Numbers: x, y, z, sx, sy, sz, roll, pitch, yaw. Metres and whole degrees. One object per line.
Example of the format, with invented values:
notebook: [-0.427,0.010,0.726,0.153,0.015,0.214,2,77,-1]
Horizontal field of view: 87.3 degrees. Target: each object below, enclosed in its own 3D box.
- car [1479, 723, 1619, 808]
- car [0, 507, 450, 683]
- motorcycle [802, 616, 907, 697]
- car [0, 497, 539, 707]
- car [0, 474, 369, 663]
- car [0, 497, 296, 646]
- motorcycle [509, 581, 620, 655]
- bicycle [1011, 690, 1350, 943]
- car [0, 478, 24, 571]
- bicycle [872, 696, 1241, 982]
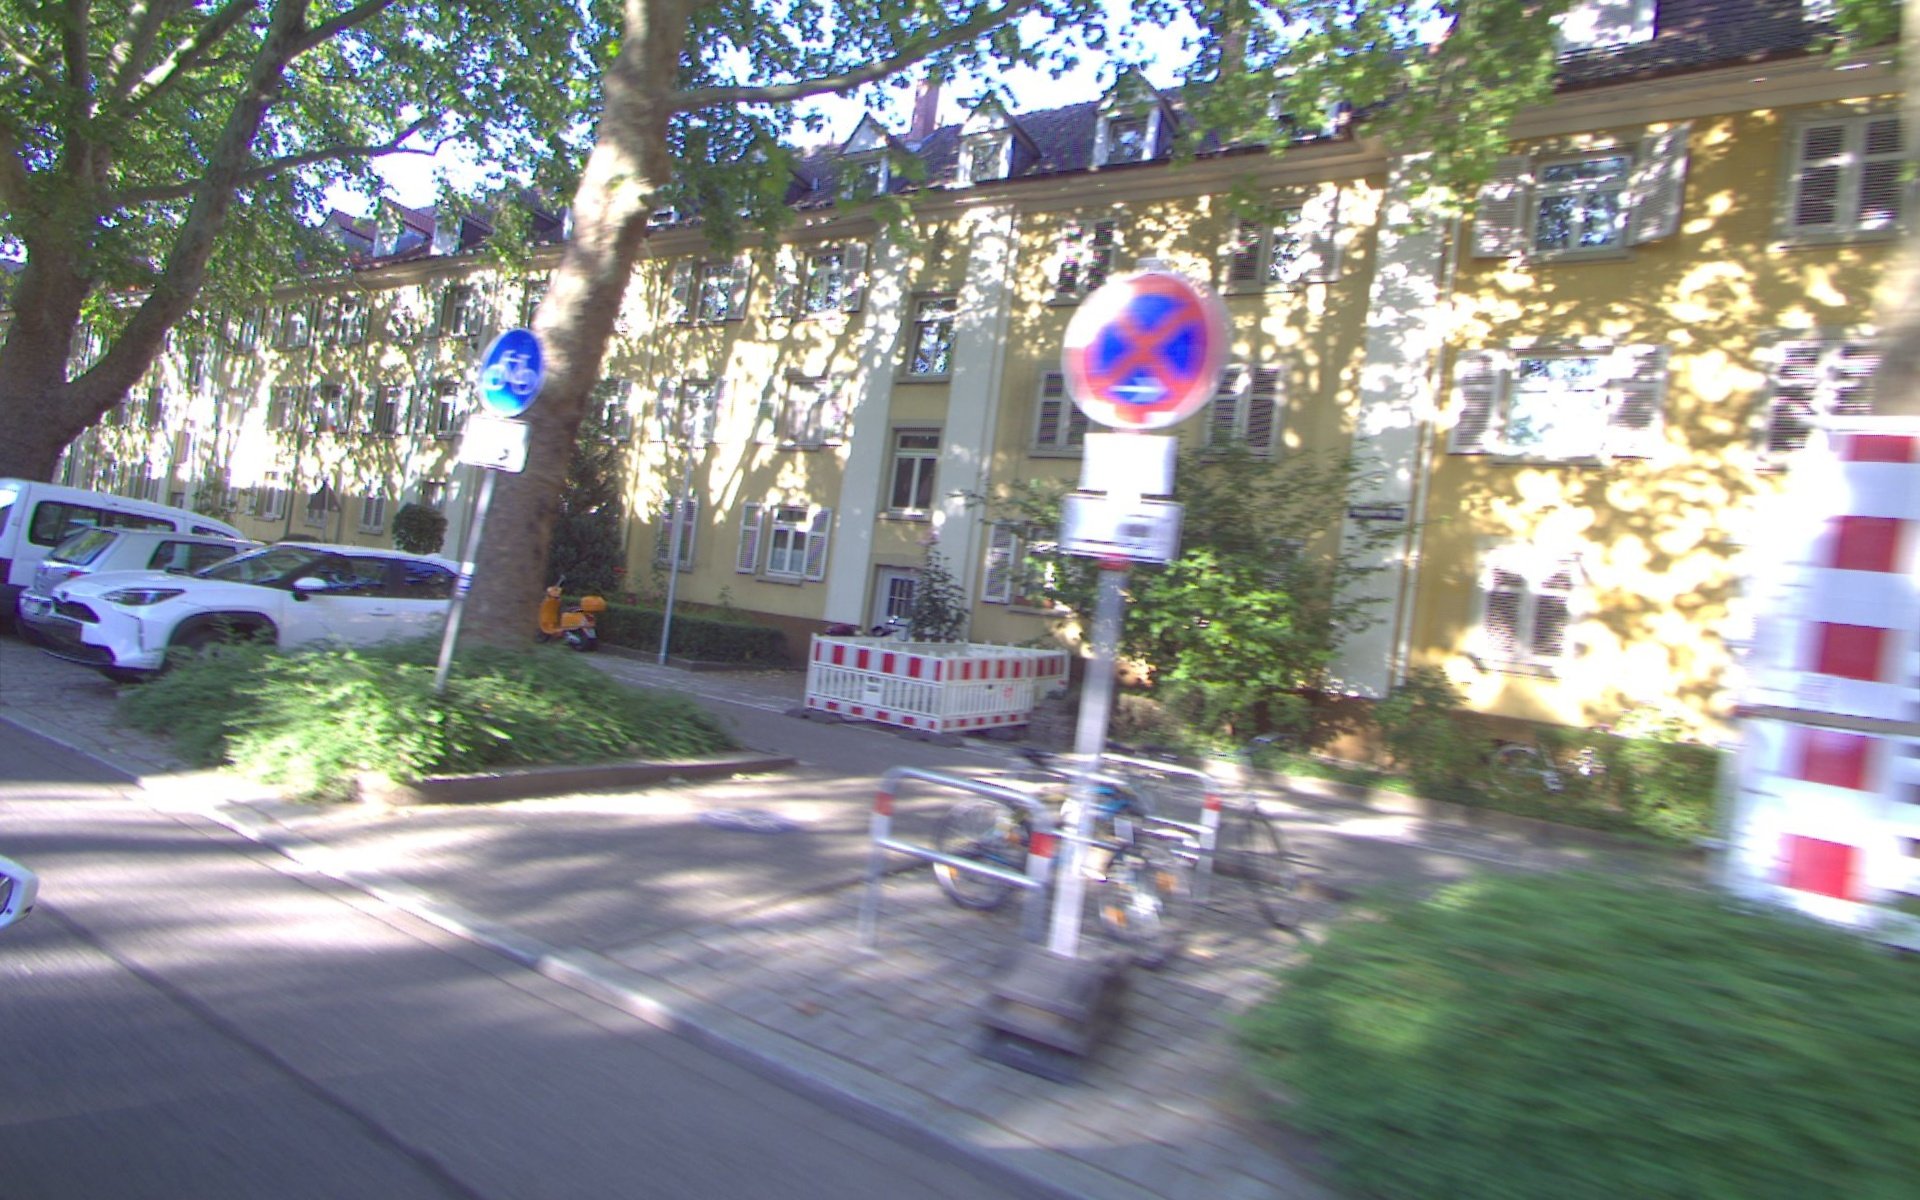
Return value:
car: [8.037,2.250,13.772,1.548,0.861,0.446,7,-3,32]
car: [-8.351,0.035,11.645,1.822,1.449,3.849,7,-2,35]
motorcycle: [-1.854,1.044,18.019,0.701,1.264,1.995,7,-2,30]
car: [-6.654,0.155,10.059,1.884,1.538,4.098,6,-3,30]
car: [-9.988,-0.332,12.624,1.886,1.792,3.849,7,-2,35]
car: [-11.796,-0.429,13.488,1.773,1.560,4.376,8,-2,35]
motorcycle: [-7.718,0.340,19.609,2.226,1.167,0.716,7,0,32]
bicycle: [1.401,1.317,6.540,1.916,1.168,0.692,7,-1,32]
car: [-22.855,-1.963,20.619,2.029,1.985,4.849,7,-2,29]
bicycle: [0.488,1.196,5.450,1.779,1.083,0.636,7,-1,32]
